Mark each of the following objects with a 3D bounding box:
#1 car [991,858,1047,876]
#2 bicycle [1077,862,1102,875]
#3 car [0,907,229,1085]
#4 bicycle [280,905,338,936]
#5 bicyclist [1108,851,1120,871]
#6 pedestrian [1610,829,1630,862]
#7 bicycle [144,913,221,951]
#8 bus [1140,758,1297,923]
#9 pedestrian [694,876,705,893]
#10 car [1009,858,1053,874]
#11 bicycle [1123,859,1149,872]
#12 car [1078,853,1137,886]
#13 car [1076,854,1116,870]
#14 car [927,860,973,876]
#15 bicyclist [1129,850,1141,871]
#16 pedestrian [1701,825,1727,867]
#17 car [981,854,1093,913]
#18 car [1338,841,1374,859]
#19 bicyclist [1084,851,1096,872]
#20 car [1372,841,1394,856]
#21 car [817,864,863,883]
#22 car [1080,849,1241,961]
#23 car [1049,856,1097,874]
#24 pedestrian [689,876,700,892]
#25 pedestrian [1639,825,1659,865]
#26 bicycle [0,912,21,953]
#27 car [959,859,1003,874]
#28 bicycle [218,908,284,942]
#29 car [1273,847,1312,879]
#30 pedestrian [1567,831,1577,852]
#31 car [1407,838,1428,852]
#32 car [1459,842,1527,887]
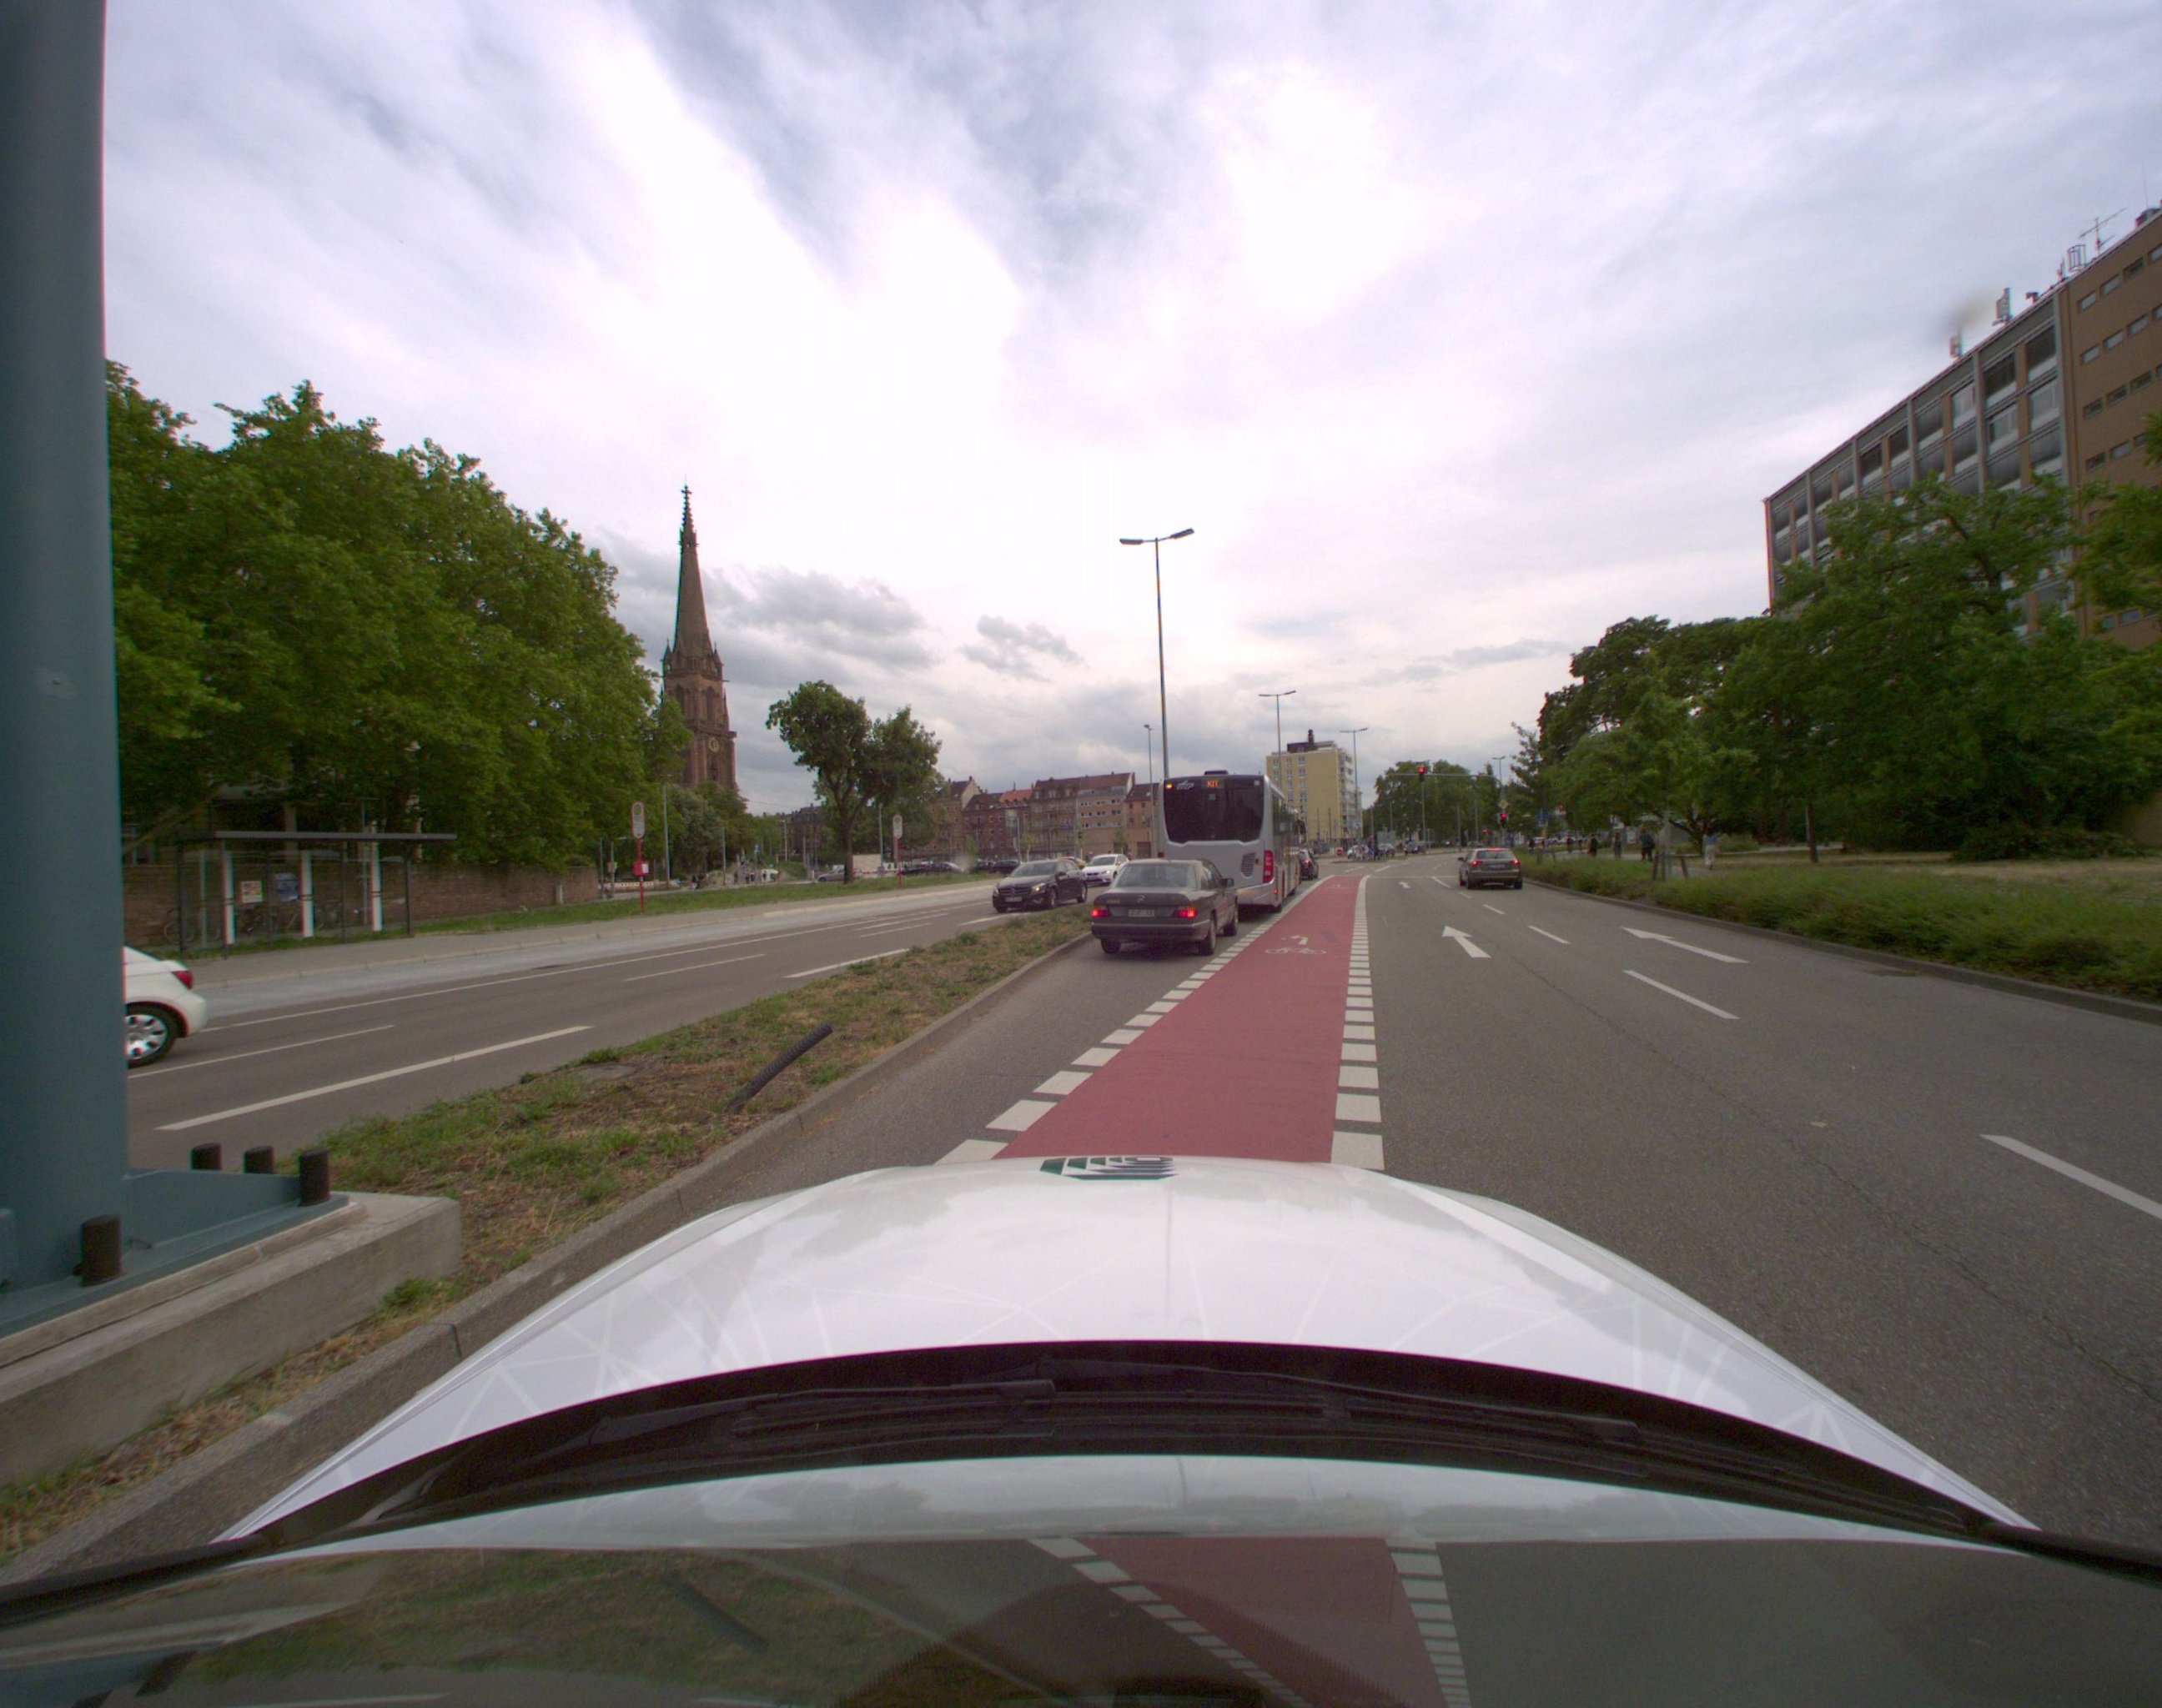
[{"bbox_3d":[-5.493,1.138,72.071,4.636,1.475,1.667,-1,0,13],"label":"car"},{"bbox_3d":[0.674,1.192,68.284,1.950,0.982,0.633,-3,0,13],"label":"bicycle"},{"bbox_3d":[-10.128,1.312,6.680,1.657,1.389,3.942,-4,0,19],"label":"car"},{"bbox_3d":[-25.649,2.185,27.088,0.480,0.907,1.618,0,0,-5],"label":"bicycle"},{"bbox_3d":[2.690,0.557,67.237,0.780,1.643,0.575,-3,0,18],"label":"bicyclist"},{"bbox_3d":[28.413,-0.441,42.957,0.794,1.713,0.770,-3,-1,32],"label":"pedestrian"},{"bbox_3d":[-25.238,2.172,22.912,0.480,0.907,1.618,0,0,-5],"label":"bicycle"},{"bbox_3d":[3.922,-0.306,21.194,2.809,3.390,8.220,-2,0,17],"label":"bus"},{"bbox_3d":[-38.355,3.068,81.924,0.557,1.560,0.728,-3,0,13],"label":"pedestrian"},{"bbox_3d":[-4.675,1.098,76.412,3.736,1.394,1.590,-1,0,14],"label":"car"},{"bbox_3d":[4.488,0.925,66.435,1.949,0.982,0.634,-3,0,16],"label":"bicycle"},{"bbox_3d":[1.359,0.730,40.275,1.682,1.443,4.196,-3,0,19],"label":"car"},{"bbox_3d":[1.402,0.763,75.315,3.660,1.394,1.585,-1,0,0],"label":"car"},{"bbox_3d":[-11.880,1.250,73.769,3.736,1.394,1.590,-1,0,14],"label":"car"},{"bbox_3d":[4.376,0.521,66.459,0.780,1.643,0.616,-3,0,16],"label":"bicyclist"},{"bbox_3d":[22.865,-0.298,29.428,0.650,1.470,0.565,-3,-1,36],"label":"pedestrian"},{"bbox_3d":[-1.197,0.815,24.567,1.740,1.489,4.399,-3,0,19],"label":"car"},{"bbox_3d":[34.550,-0.522,102.198,2.558,2.109,5.637,-3,0,38],"label":"car"},{"bbox_3d":[0.777,0.626,68.279,0.781,1.643,0.574,-3,0,13],"label":"bicyclist"},{"bbox_3d":[40.920,-0.803,110.360,1.789,1.850,4.026,-3,0,34],"label":"car"},{"bbox_3d":[-24.332,1.944,82.355,4.125,1.649,1.653,-3,0,12],"label":"car"},{"bbox_3d":[1.466,0.707,13.248,1.747,1.489,4.190,-2,0,17],"label":"car"},{"bbox_3d":[-0.675,0.939,70.940,3.829,1.517,1.667,-1,0,14],"label":"car"},{"bbox_3d":[-39.172,3.086,82.538,0.557,1.560,0.728,-3,0,13],"label":"pedestrian"},{"bbox_3d":[24.904,-0.380,35.707,0.640,1.713,0.565,-3,-1,34],"label":"pedestrian"},{"bbox_3d":[-24.928,1.815,18.180,0.480,0.907,1.618,0,0,-4],"label":"bicycle"},{"bbox_3d":[-9.515,1.201,77.442,3.736,1.394,1.590,-1,0,14],"label":"car"},{"bbox_3d":[-25.538,2.181,25.086,0.480,0.907,1.618,0,0,-5],"label":"bicycle"},{"bbox_3d":[10.209,0.398,39.124,1.642,1.396,3.877,-2,0,16],"label":"car"},{"bbox_3d":[48.206,-1.220,79.974,0.609,2.013,0.600,-2,0,17],"label":"pedestrian"},{"bbox_3d":[49.991,-1.352,120.952,1.974,2.013,4.026,-3,0,35],"label":"car"},{"bbox_3d":[14.707,0.348,29.228,1.710,1.457,3.755,-2,0,20],"label":"car"}]
